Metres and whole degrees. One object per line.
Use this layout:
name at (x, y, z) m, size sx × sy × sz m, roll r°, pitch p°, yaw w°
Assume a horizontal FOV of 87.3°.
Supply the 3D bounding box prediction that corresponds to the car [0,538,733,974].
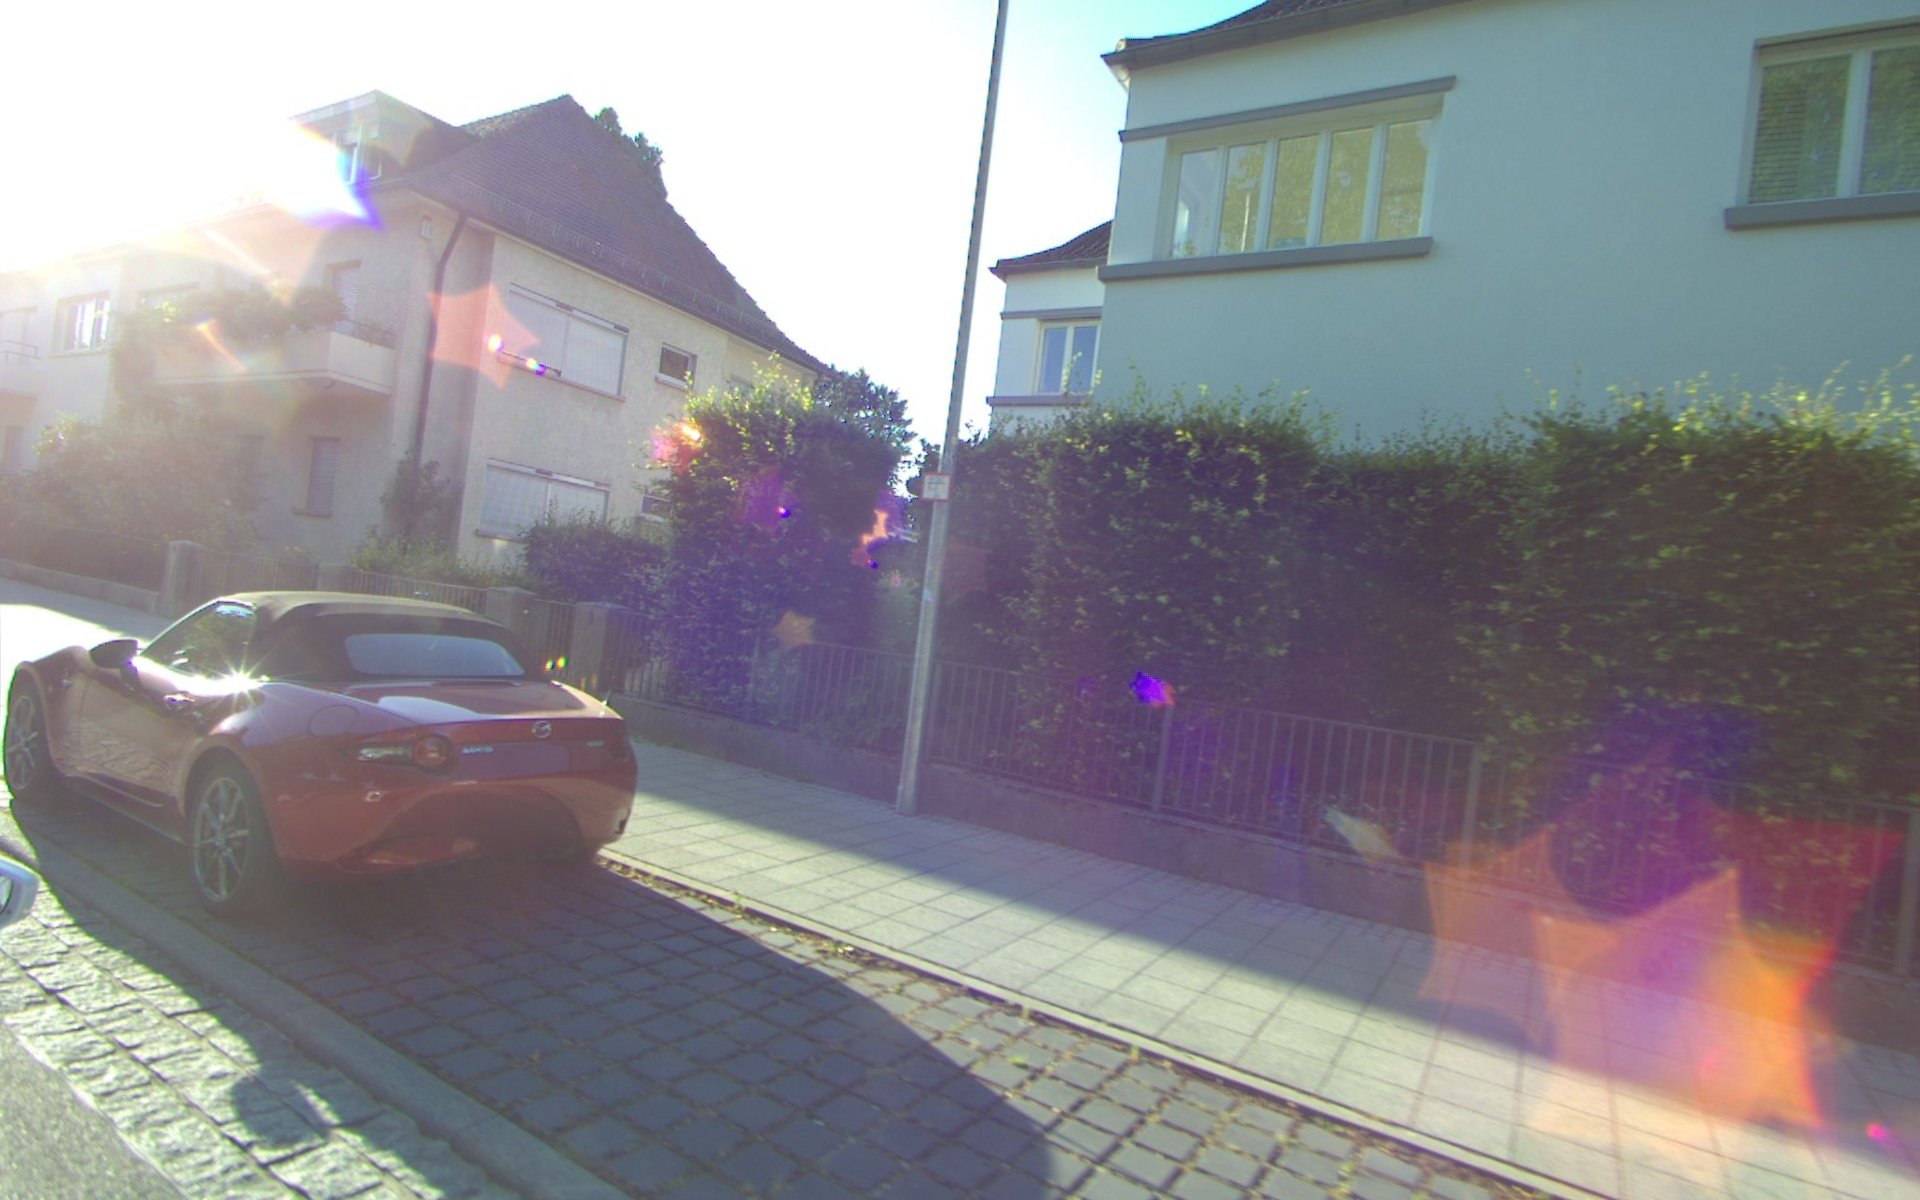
car at (-3.201, 0.530, 5.098) m, size 3.816 × 1.272 × 1.701 m, roll 6°, pitch -1°, yaw 32°
